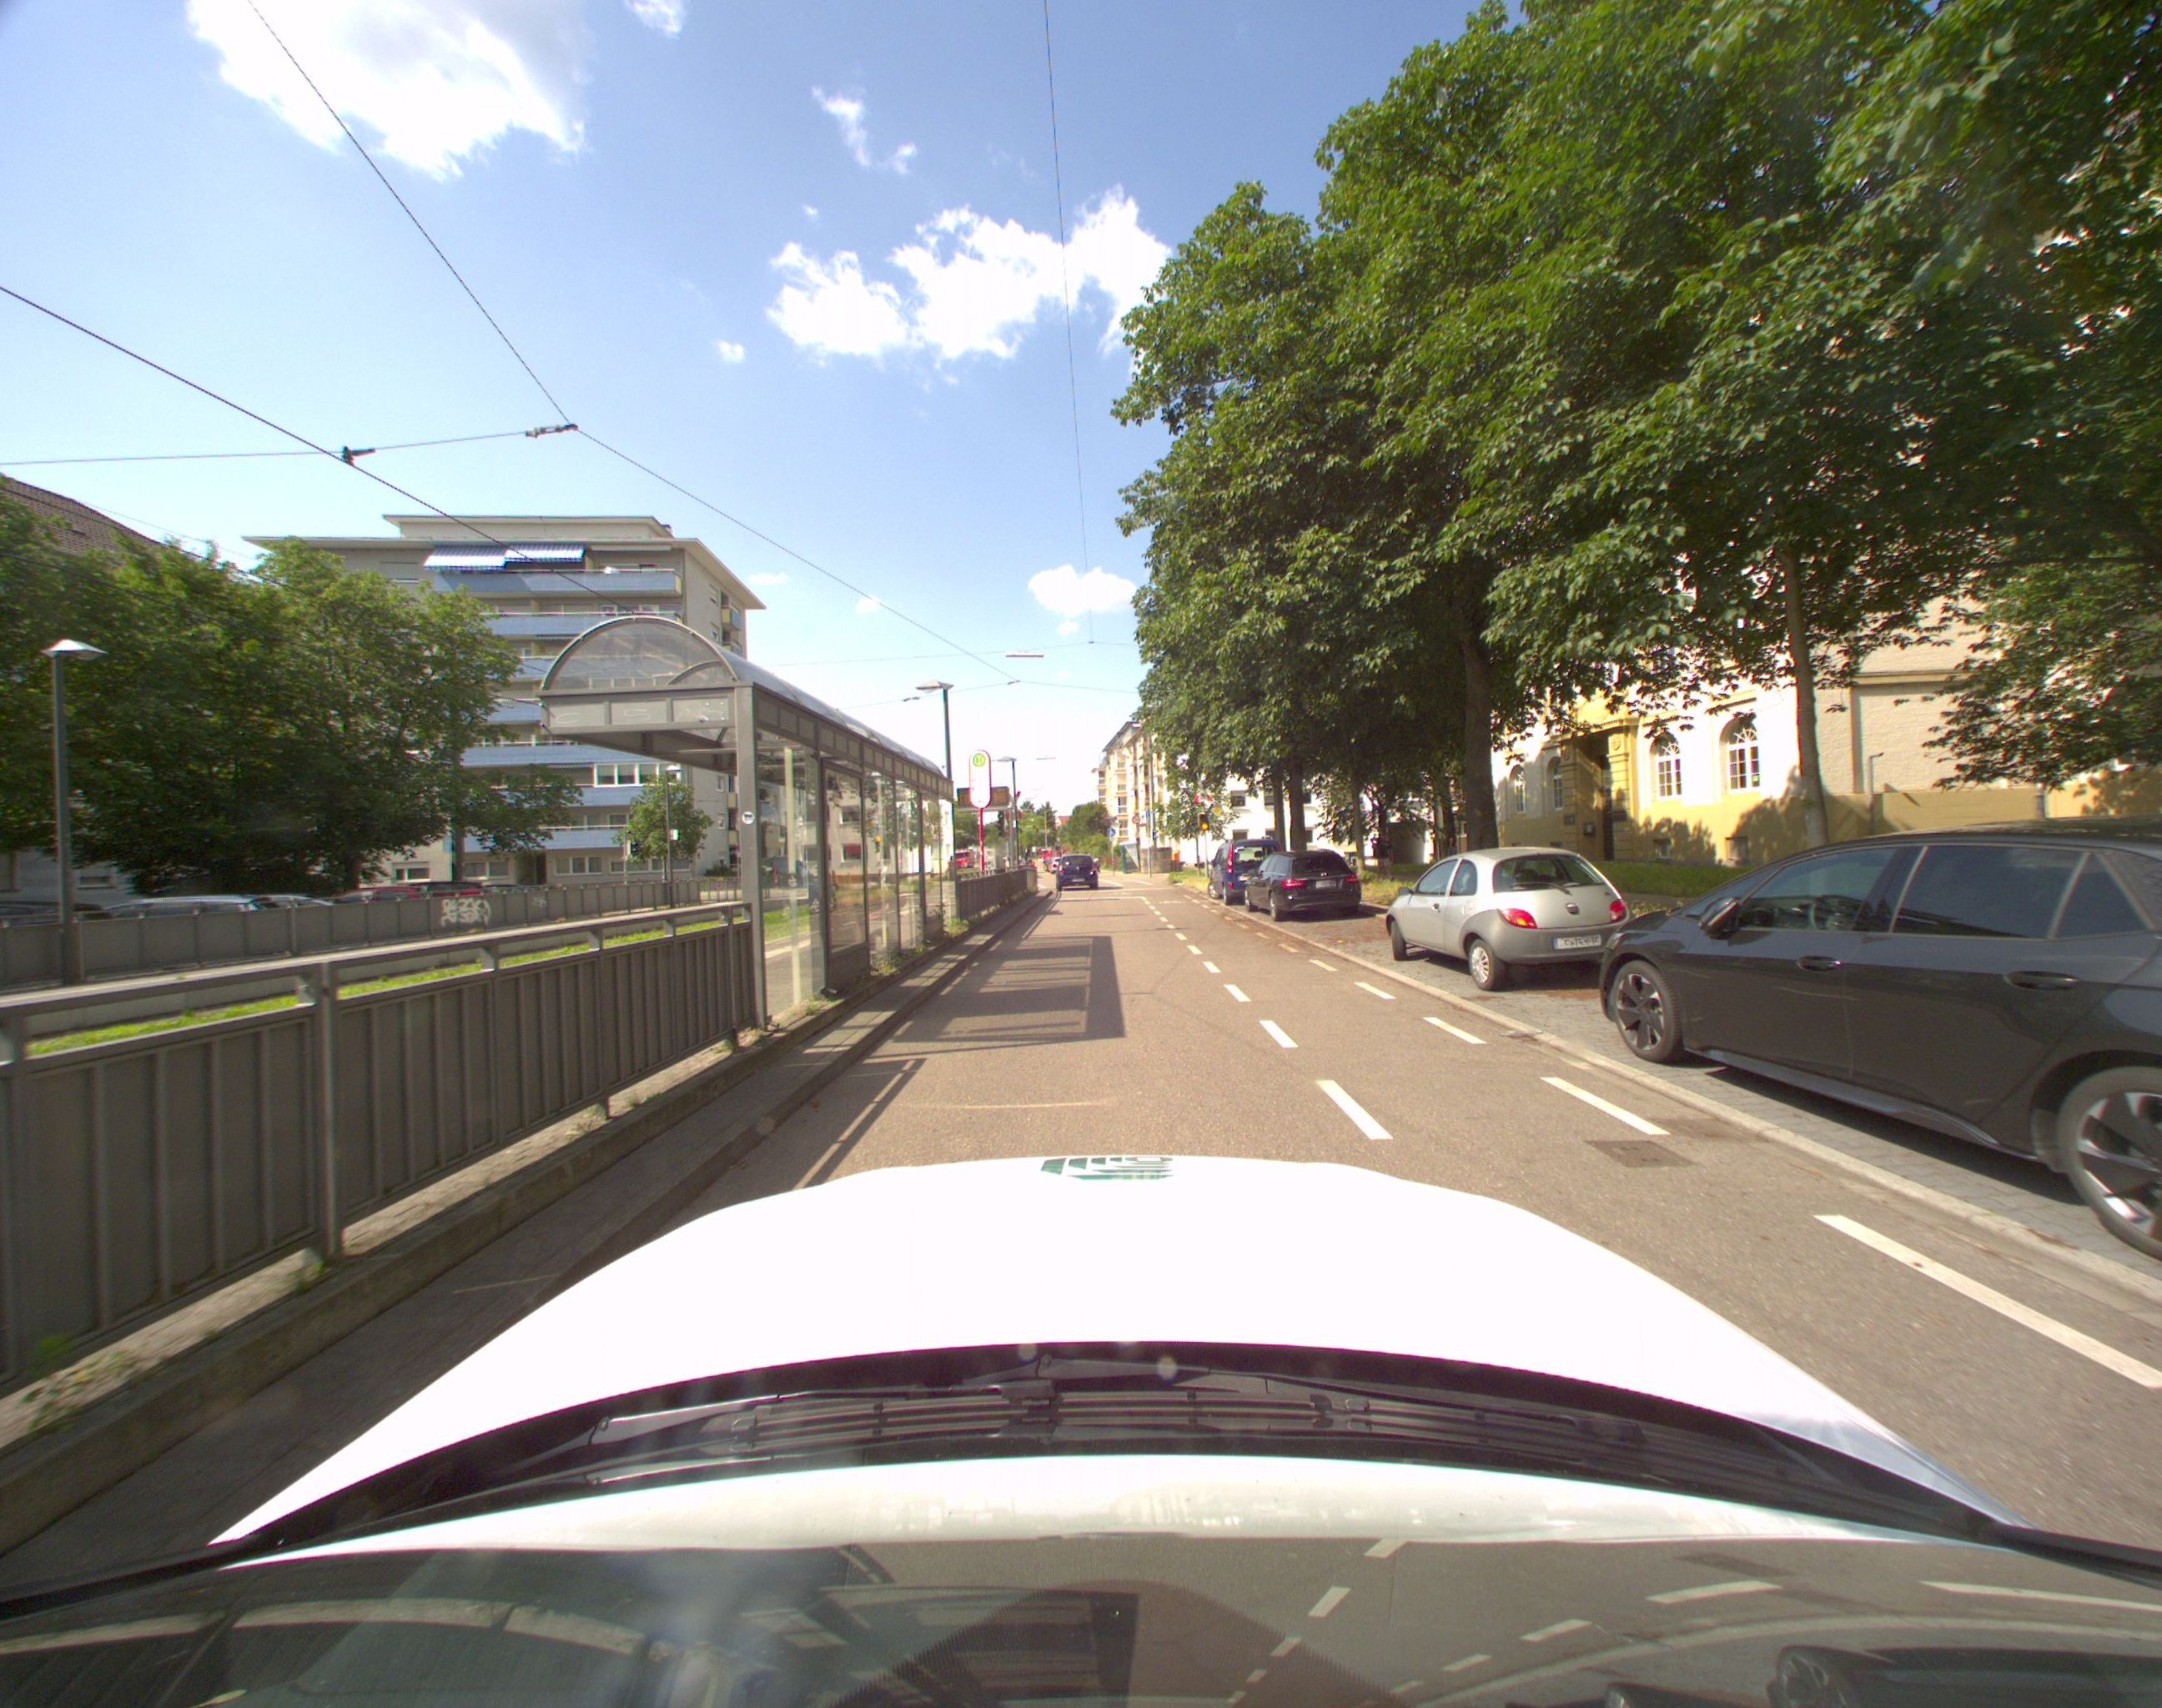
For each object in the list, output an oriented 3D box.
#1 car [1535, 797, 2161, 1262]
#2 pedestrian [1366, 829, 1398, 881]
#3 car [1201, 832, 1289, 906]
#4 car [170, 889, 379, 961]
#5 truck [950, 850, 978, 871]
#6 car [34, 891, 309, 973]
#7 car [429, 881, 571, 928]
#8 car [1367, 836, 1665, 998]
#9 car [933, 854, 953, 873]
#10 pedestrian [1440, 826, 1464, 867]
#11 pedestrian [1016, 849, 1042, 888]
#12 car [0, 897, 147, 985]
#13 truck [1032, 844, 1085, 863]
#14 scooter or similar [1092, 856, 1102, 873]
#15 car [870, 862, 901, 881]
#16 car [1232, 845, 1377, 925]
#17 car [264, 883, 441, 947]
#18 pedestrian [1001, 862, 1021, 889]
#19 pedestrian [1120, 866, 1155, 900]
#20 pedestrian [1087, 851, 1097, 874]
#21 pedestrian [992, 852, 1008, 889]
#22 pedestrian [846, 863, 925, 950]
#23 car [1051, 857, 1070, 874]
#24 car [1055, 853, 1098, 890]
[{"bbox_3d":[4.587,0.558,4.377,1.718,1.583,4.679,-3,0,2],"label":"car"},{"bbox_3d":[10.325,0.036,27.929,0.741,1.696,0.767,-3,0,2],"label":"pedestrian"},{"bbox_3d":[4.751,0.376,24.151,1.815,1.896,4.186,-4,0,3],"label":"car"},{"bbox_3d":[-21.703,1.851,22.116,3.678,1.579,1.633,-2,0,-30],"label":"car"},{"bbox_3d":[-19.278,1.037,134.594,2.584,3.185,8.394,-3,0,5],"label":"truck"},{"bbox_3d":[-21.514,1.779,19.512,4.039,1.514,1.594,-2,0,-29],"label":"car"},{"bbox_3d":[-21.510,1.830,30.253,4.154,1.394,1.591,-2,0,-38],"label":"car"},{"bbox_3d":[4.822,0.615,9.642,1.585,1.445,3.599,-4,0,1],"label":"car"},{"bbox_3d":[-16.970,1.200,100.528,1.990,2.275,4.826,0,0,-4],"label":"car"},{"bbox_3d":[14.677,-0.280,32.195,0.629,1.596,0.539,-3,-1,-2],"label":"pedestrian"},{"bbox_3d":[-2.261,0.628,35.291,0.850,1.667,0.792,-2,-1,-26],"label":"pedestrian"},{"bbox_3d":[-21.848,1.791,16.354,3.678,1.579,1.633,-2,0,-30],"label":"car"},{"bbox_3d":[-4.451,-0.127,159.260,10.187,3.471,2.652,0,-1,-26],"label":"truck"},{"bbox_3d":[1.279,0.879,66.386,0.660,1.303,0.868,-5,0,-3],"label":"scooter or similar"},{"bbox_3d":[-17.686,1.595,73.939,1.989,1.645,3.996,-1,-1,-3],"label":"car"},{"bbox_3d":[4.944,0.610,18.790,1.911,1.442,4.796,-5,0,0],"label":"car"},{"bbox_3d":[-21.828,1.769,24.599,3.678,1.579,1.633,-2,0,-30],"label":"car"},{"bbox_3d":[-3.095,0.955,35.993,0.639,1.180,0.793,-2,-1,-22],"label":"pedestrian"},{"bbox_3d":[3.498,1.773,50.999,1.986,2.014,4.001,-1,-1,1],"label":"pedestrian"},{"bbox_3d":[0.920,0.691,67.283,0.699,1.789,1.030,-5,0,0],"label":"pedestrian"},{"bbox_3d":[-3.667,0.729,36.932,0.704,1.648,0.636,0,-1,-3],"label":"pedestrian"},{"bbox_3d":[-2.604,0.683,10.871,0.655,1.072,0.728,-2,1,35],"label":"pedestrian"},{"bbox_3d":[-1.871,1.037,74.145,1.619,1.465,3.506,-1,-1,-3],"label":"car"},{"bbox_3d":[-0.210,0.739,35.066,1.739,1.507,3.998,-1,-1,-1],"label":"car"}]
